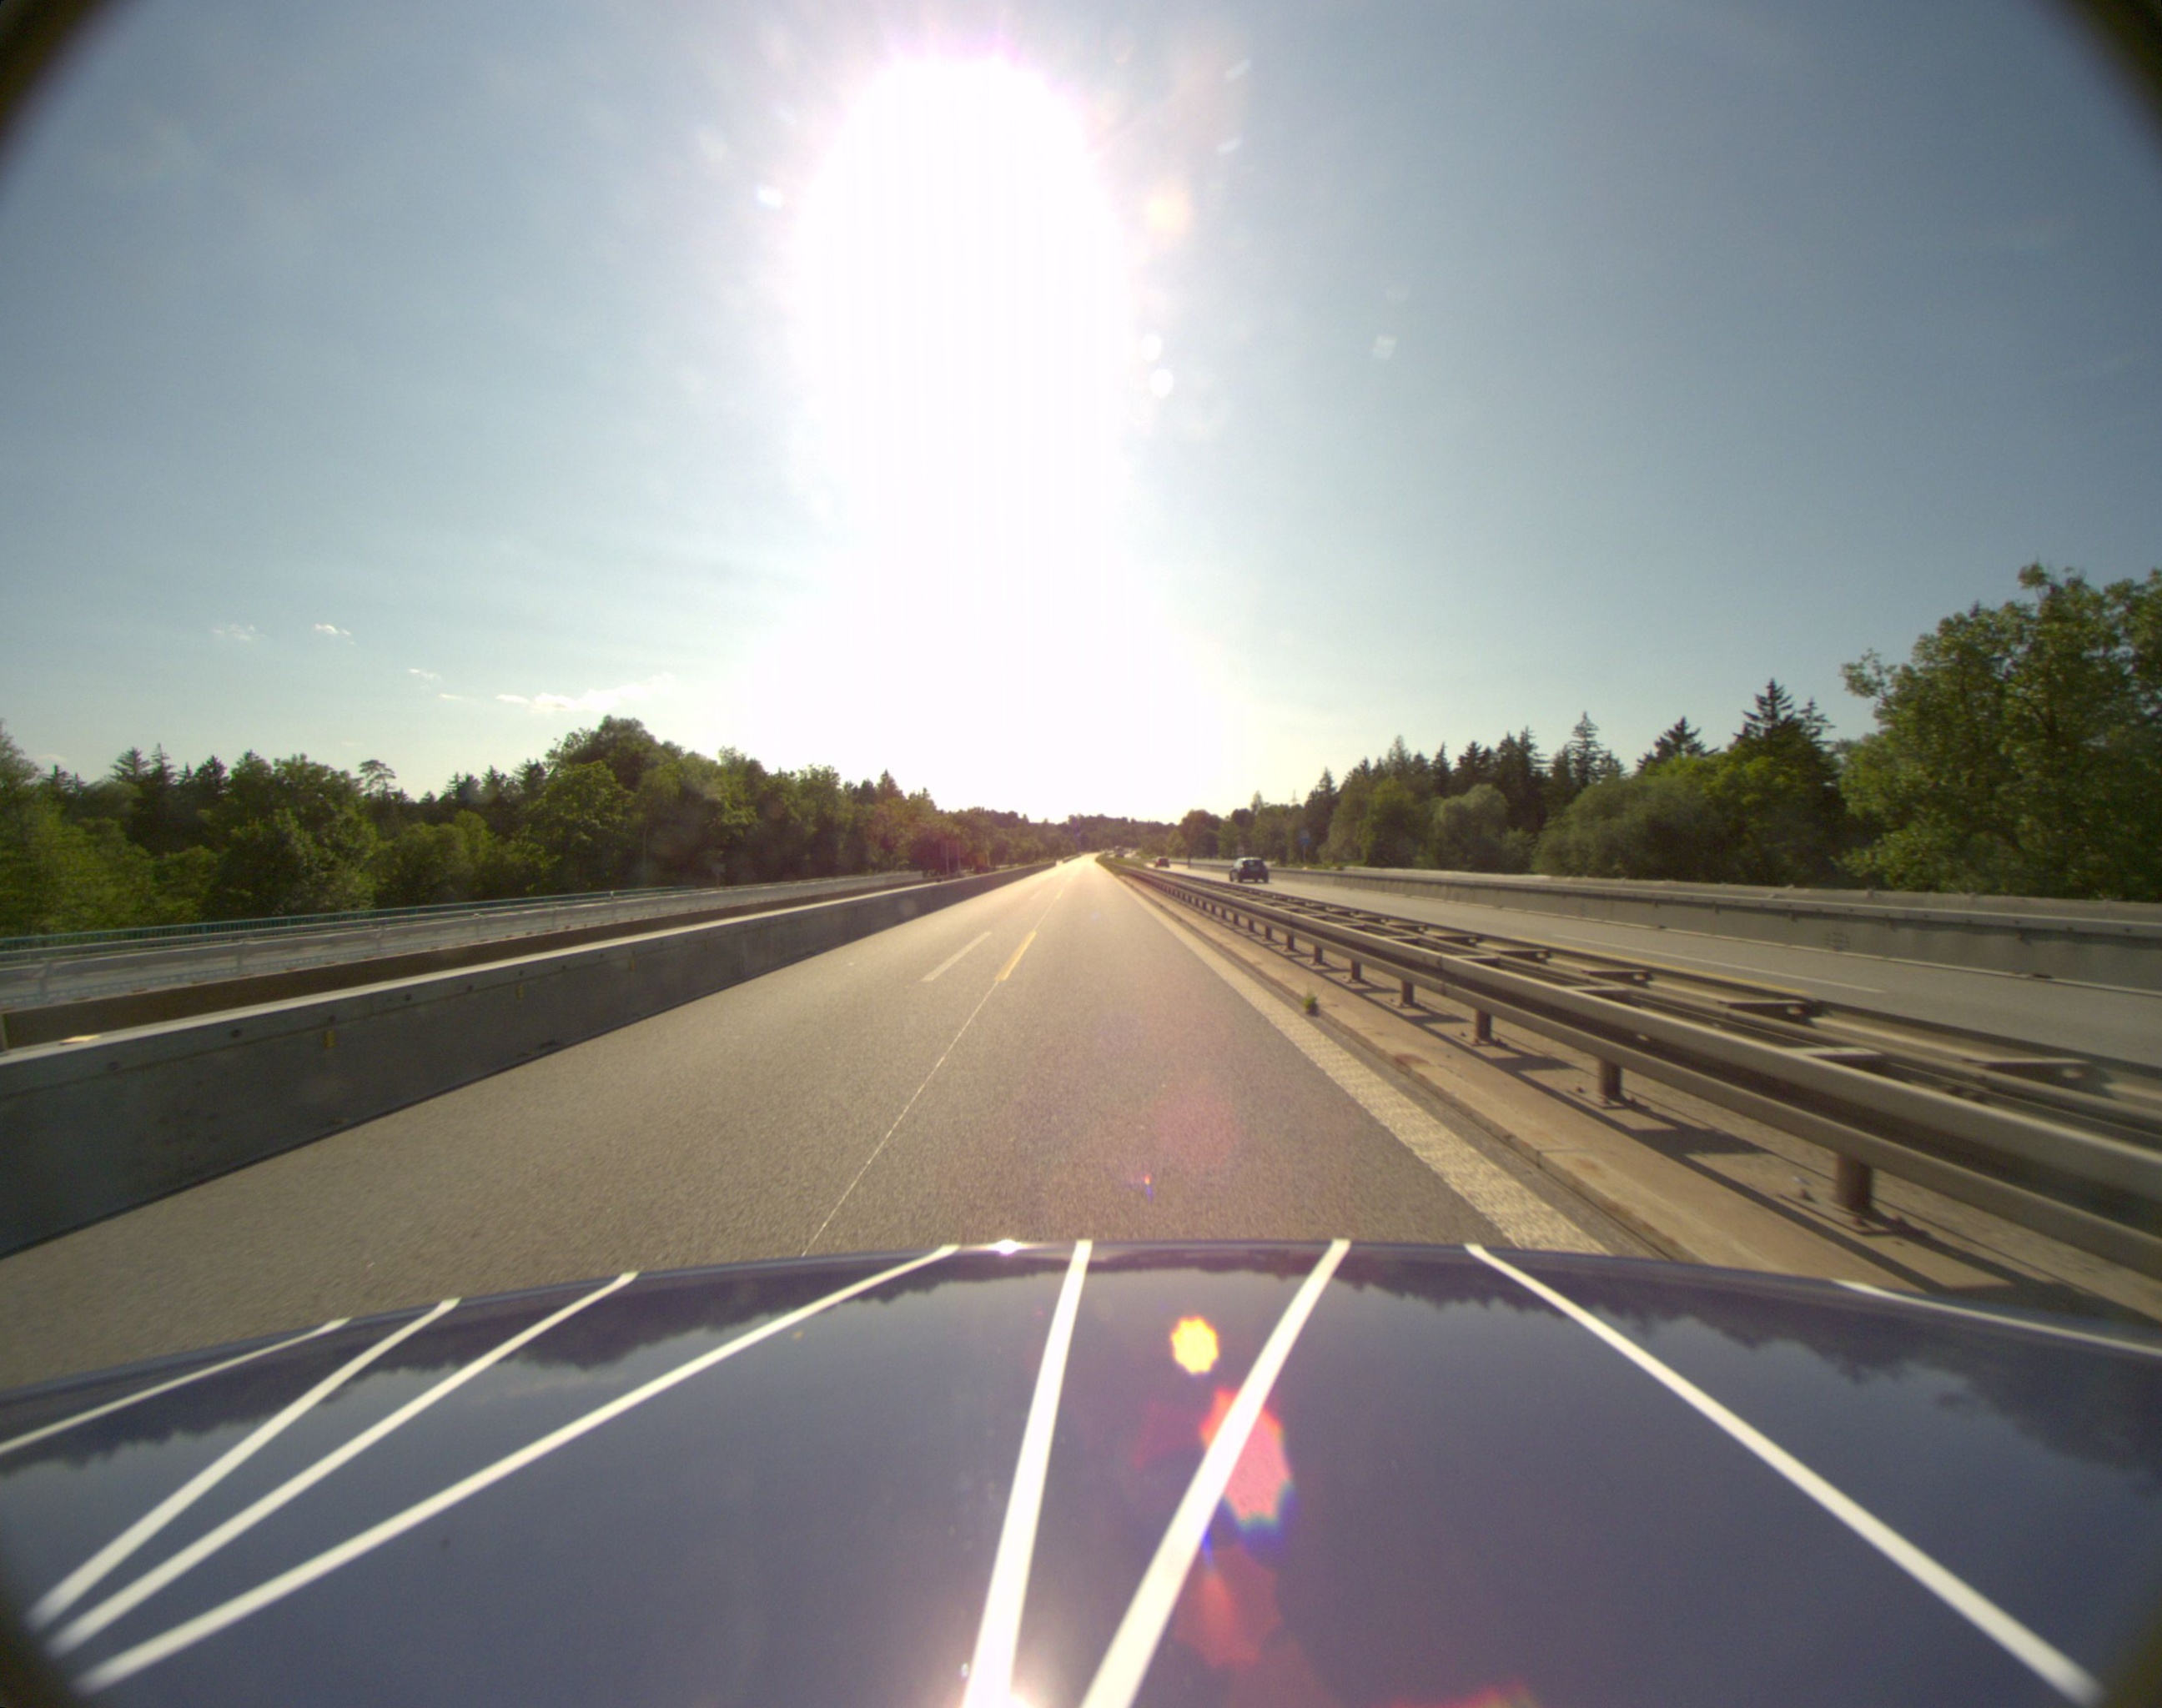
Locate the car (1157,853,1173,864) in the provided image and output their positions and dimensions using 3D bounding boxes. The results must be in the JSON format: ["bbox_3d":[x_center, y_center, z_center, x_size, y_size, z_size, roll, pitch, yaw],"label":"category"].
[{"bbox_3d":[10.930,0.559,98.823,1.650,1.369,4.808,0,0,2],"label":"car"}]

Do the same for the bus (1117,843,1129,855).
[{"bbox_3d":[12.633,-1.514,229.923,2.889,3.649,12.916,-1,0,0],"label":"bus"}]

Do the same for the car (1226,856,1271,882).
[{"bbox_3d":[9.657,0.825,44.052,1.686,1.385,4.192,0,0,0],"label":"car"}]

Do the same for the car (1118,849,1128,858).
[{"bbox_3d":[8.977,-0.085,163.619,1.878,1.962,5.577,-2,0,2],"label":"car"}]

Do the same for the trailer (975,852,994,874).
[{"bbox_3d":[-8.235,0.764,65.063,1.128,1.863,3.999,0,0,-1],"label":"trailer"}]
